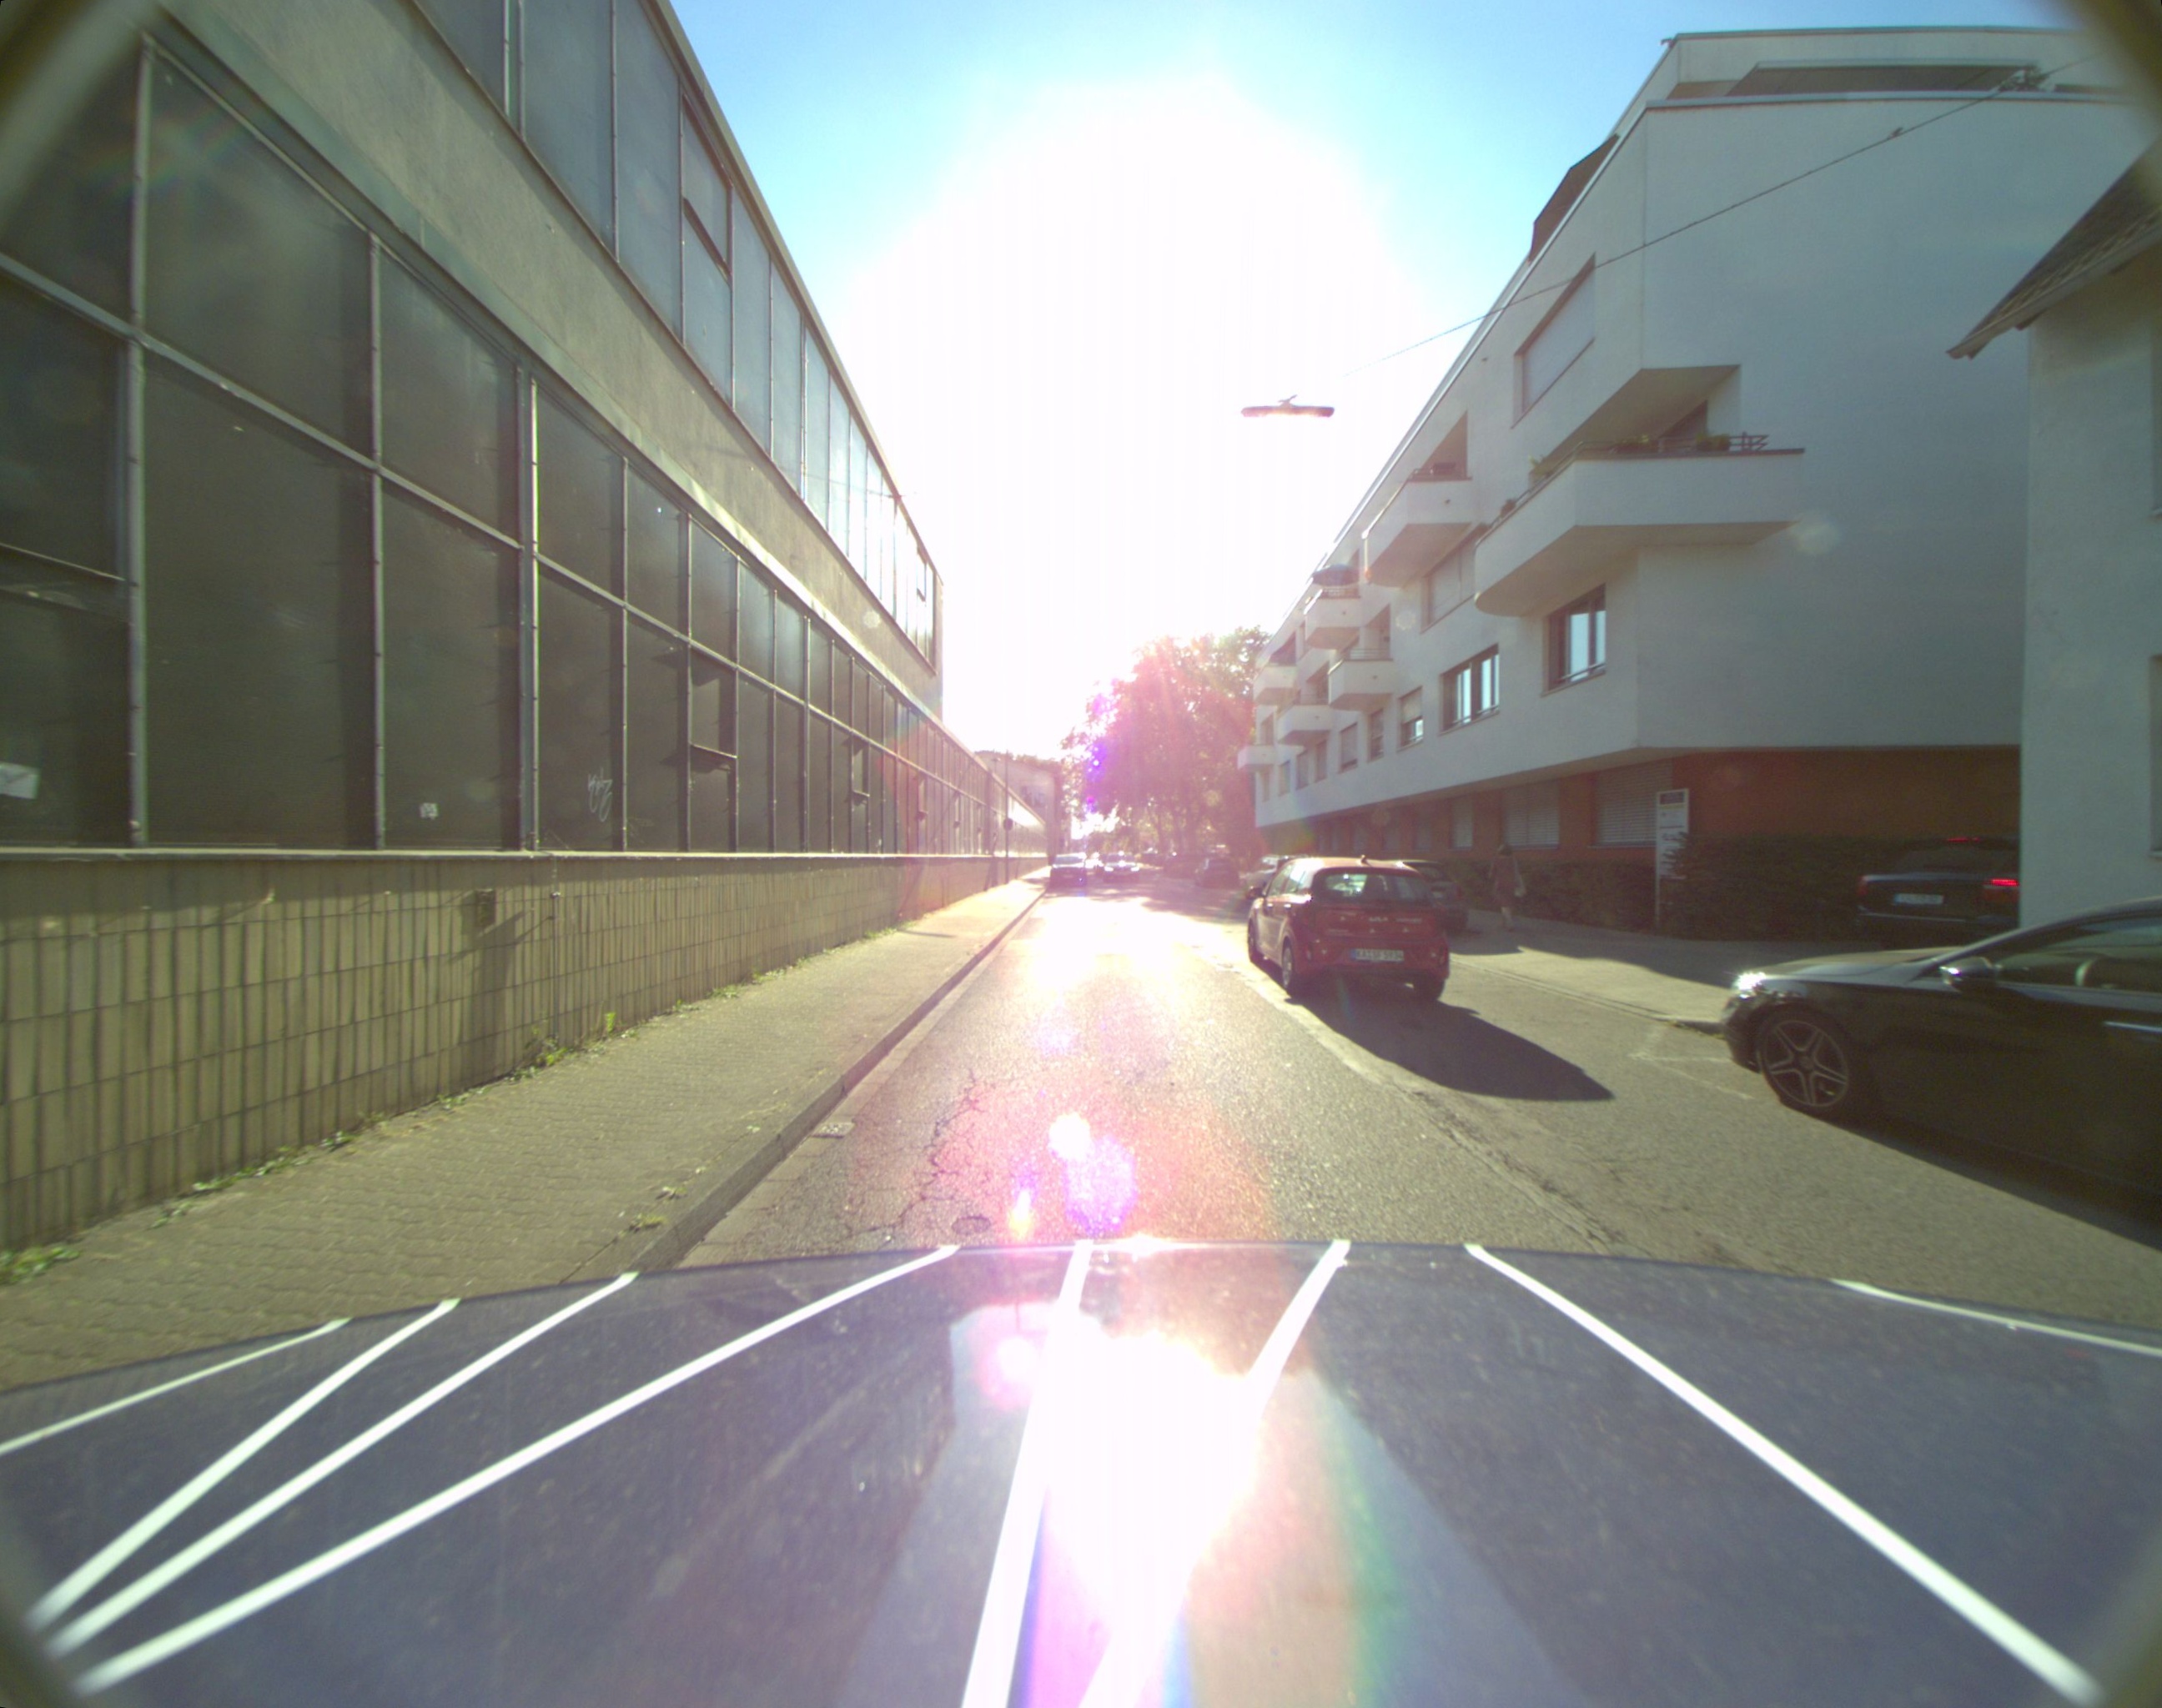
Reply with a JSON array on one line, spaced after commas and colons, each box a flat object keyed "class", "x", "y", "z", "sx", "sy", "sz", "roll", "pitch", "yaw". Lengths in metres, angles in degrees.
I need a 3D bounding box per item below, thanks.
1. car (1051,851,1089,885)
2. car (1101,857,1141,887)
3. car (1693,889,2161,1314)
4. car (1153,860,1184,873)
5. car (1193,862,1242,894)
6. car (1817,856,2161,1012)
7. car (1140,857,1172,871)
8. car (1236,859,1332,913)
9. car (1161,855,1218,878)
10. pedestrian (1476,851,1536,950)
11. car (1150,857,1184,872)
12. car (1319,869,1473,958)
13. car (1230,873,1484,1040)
[{"class": "car", "x": -0.568, "y": 0.665, "z": 38.283, "sx": 1.812, "sy": 1.578, "sz": 4.404, "roll": -1, "pitch": 0, "yaw": -1}, {"class": "car", "x": 2.143, "y": 0.943, "z": 42.053, "sx": 1.855, "sy": 1.527, "sz": 3.856, "roll": -1, "pitch": 0, "yaw": -2}, {"class": "car", "x": 5.073, "y": 1.031, "z": 3.014, "sx": 1.689, "sy": 1.526, "sz": 4.333, "roll": -1, "pitch": 0, "yaw": -2}, {"class": "car", "x": 11.086, "y": 1.535, "z": 96.210, "sx": 3.603, "sy": 1.551, "sz": 1.647, "roll": 0, "pitch": 1, "yaw": -18}, {"class": "car", "x": 6.626, "y": 1.139, "z": 37.212, "sx": 1.679, "sy": 1.425, "sz": 3.770, "roll": -1, "pitch": 0, "yaw": 0}, {"class": "car", "x": 12.246, "y": 0.931, "z": 9.238, "sx": 4.618, "sy": 1.628, "sz": 2.014, "roll": 2, "pitch": 0, "yaw": 0}, {"class": "car", "x": 10.050, "y": 1.288, "z": 101.608, "sx": 4.005, "sy": 1.875, "sz": 1.713, "roll": 0, "pitch": 1, "yaw": -26}, {"class": "car", "x": 6.719, "y": 0.997, "z": 25.645, "sx": 1.863, "sy": 1.578, "sz": 4.620, "roll": -1, "pitch": 0, "yaw": -2}, {"class": "car", "x": 8.039, "y": 0.925, "z": 56.311, "sx": 3.966, "sy": 1.652, "sz": 1.696, "roll": 0, "pitch": 1, "yaw": -27}, {"class": "pedestrian", "x": 8.141, "y": 0.864, "z": 14.598, "sx": 0.862, "sy": 1.808, "sz": 1.134, "roll": -3, "pitch": 0, "yaw": 25}, {"class": "car", "x": 11.218, "y": 1.341, "z": 99.059, "sx": 4.002, "sy": 1.871, "sz": 1.831, "roll": 0, "pitch": 1, "yaw": -16}, {"class": "car", "x": 6.487, "y": 1.151, "z": 16.107, "sx": 1.672, "sy": 1.527, "sz": 3.857, "roll": -1, "pitch": 0, "yaw": 0}, {"class": "car", "x": 3.084, "y": 1.044, "z": 9.473, "sx": 1.846, "sy": 1.482, "sz": 4.145, "roll": 1, "pitch": 0, "yaw": 3}]
